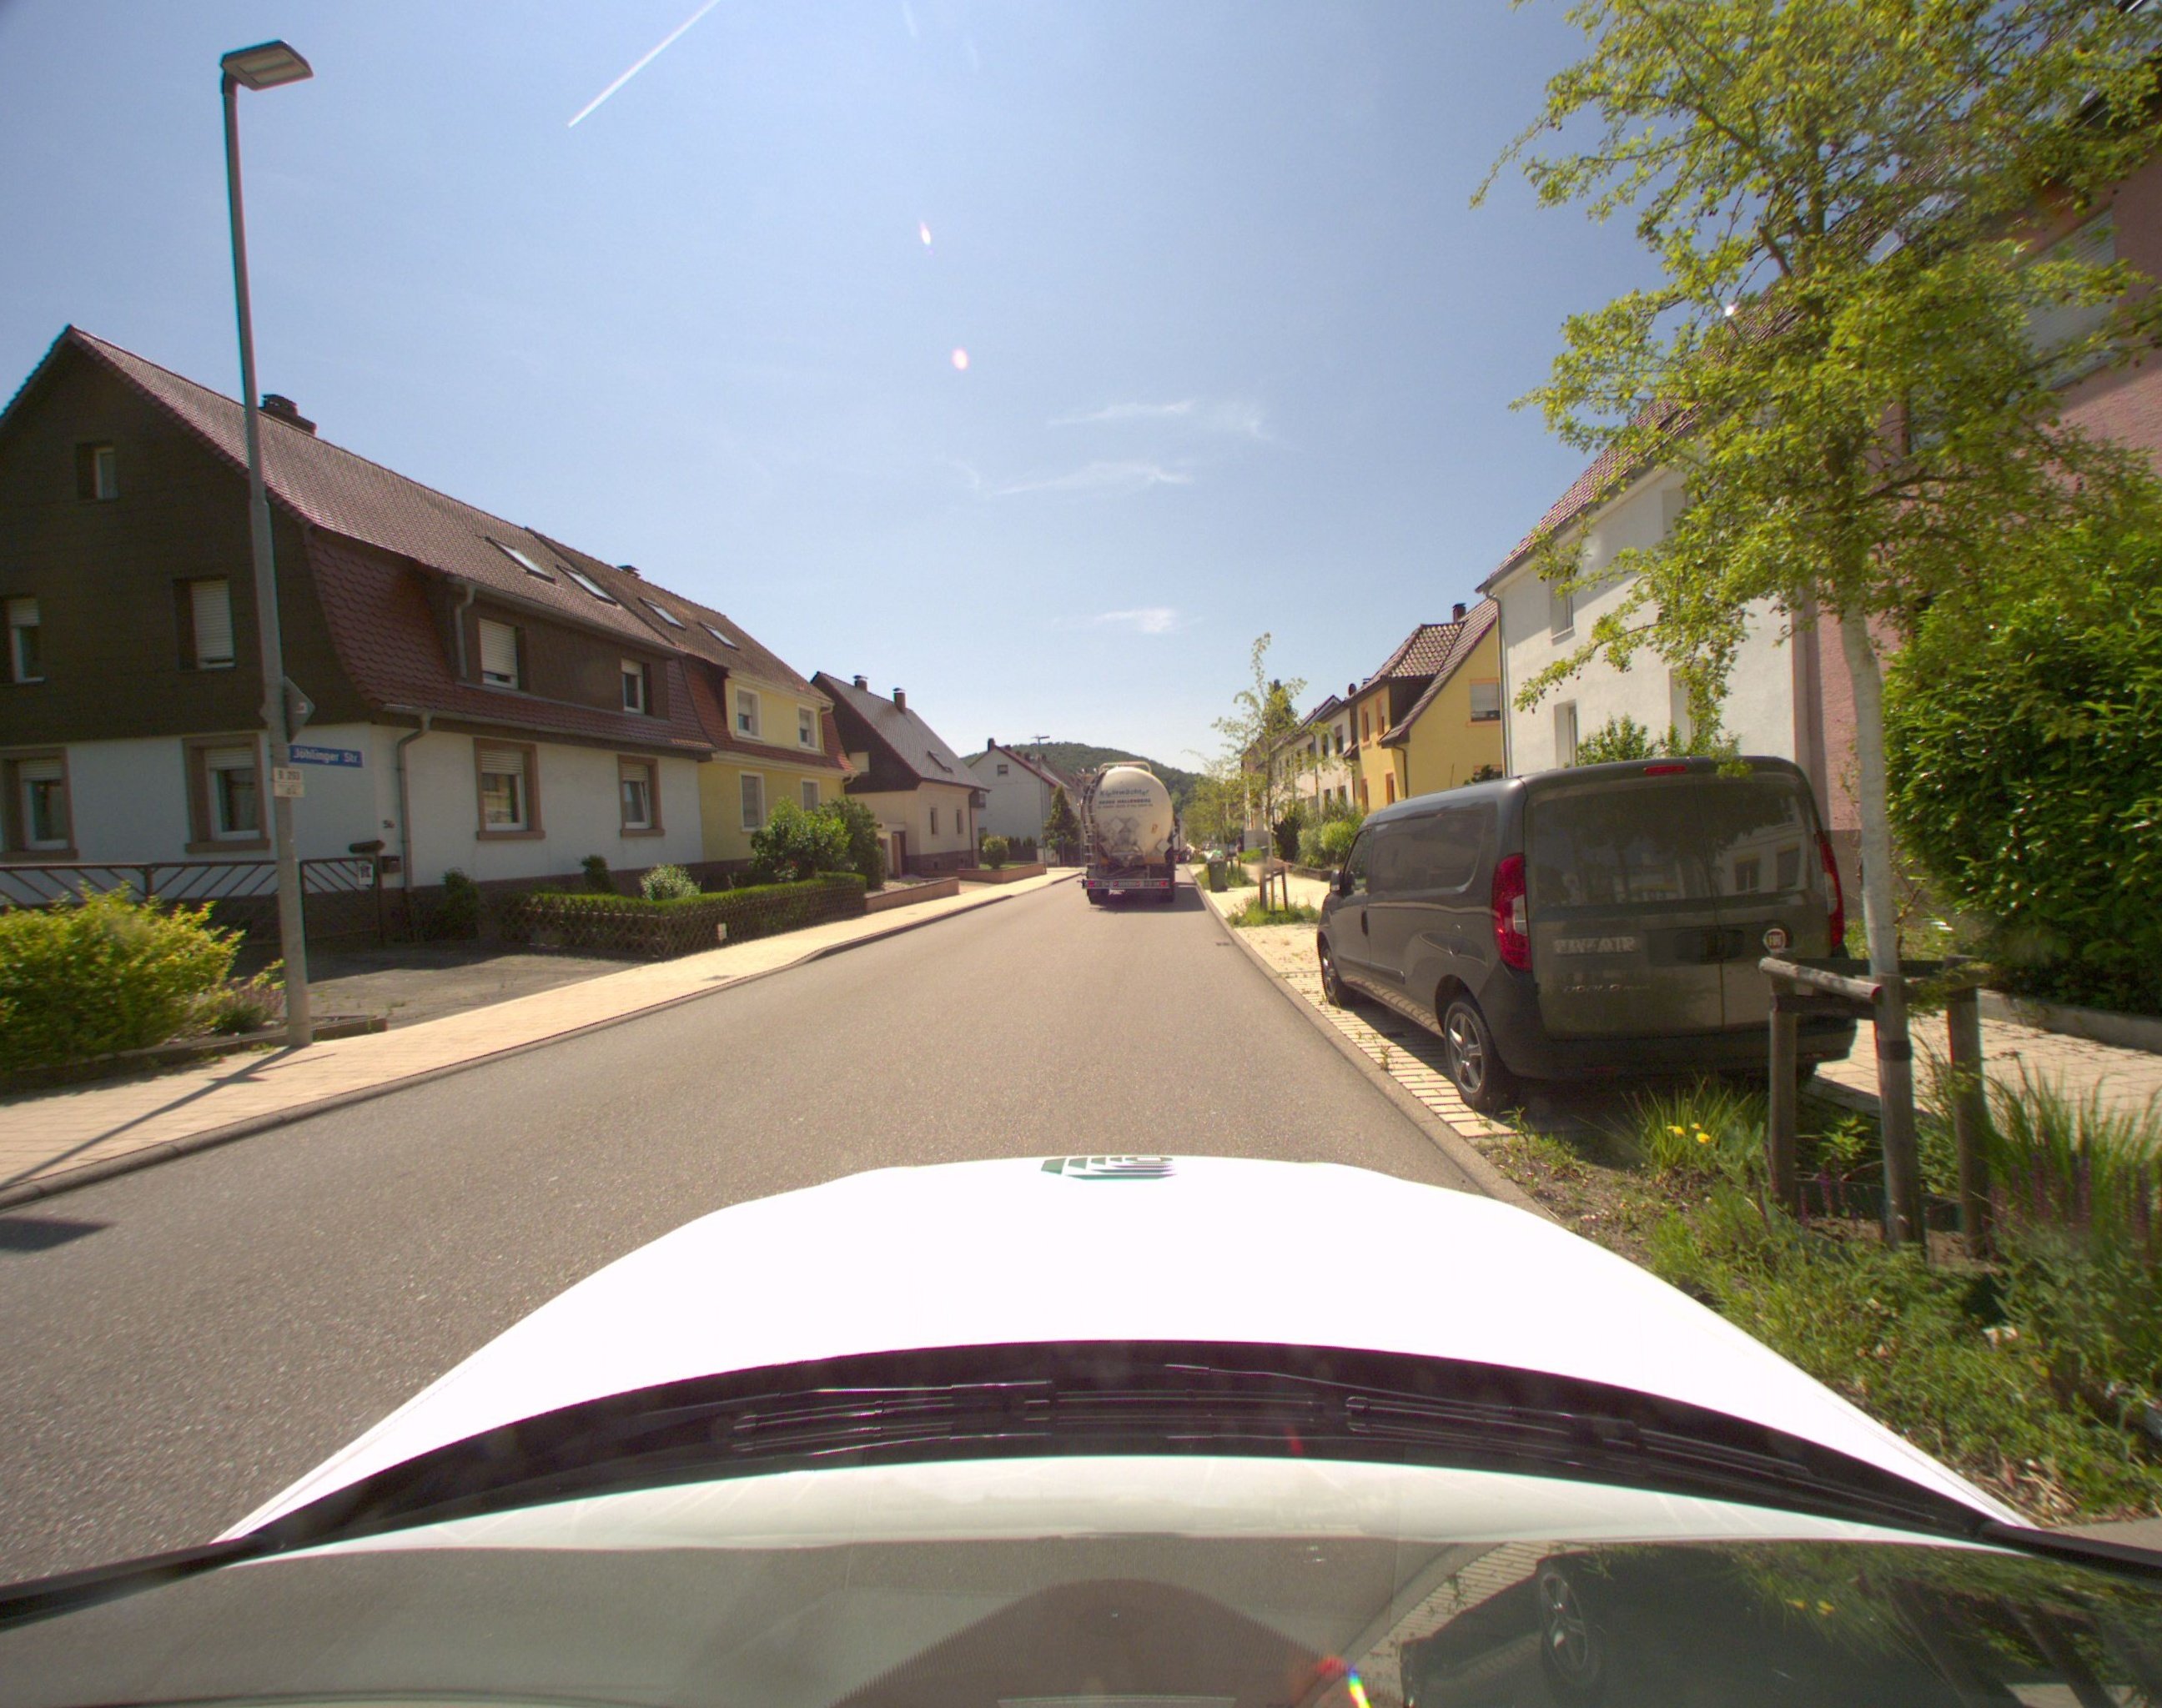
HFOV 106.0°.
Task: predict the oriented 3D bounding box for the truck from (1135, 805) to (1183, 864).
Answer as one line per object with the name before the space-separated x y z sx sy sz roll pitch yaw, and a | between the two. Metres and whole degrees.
truck | 7.185 -1.761 76.169 3.892 4.895 9.809 -4 0 4

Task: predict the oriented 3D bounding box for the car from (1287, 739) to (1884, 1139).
car | 3.033 0.403 6.298 1.847 1.842 4.675 -4 0 3

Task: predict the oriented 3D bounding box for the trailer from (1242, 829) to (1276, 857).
trailer | 13.109 -0.833 60.035 2.286 2.013 1.308 -2 0 -41

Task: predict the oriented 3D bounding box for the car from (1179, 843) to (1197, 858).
car | 13.976 -0.457 106.557 1.984 1.822 4.005 -3 0 5

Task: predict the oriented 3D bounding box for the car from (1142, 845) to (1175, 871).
car | 5.205 0.260 54.239 1.898 1.554 4.010 -4 0 9

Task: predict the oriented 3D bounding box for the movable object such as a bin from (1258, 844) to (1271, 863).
movable object such as a bin | 11.451 -0.005 50.848 0.679 1.115 0.815 -6 -1 12

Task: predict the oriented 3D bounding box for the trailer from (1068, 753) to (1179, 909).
trailer | 1.699 -0.680 26.463 2.781 4.000 10.343 -2 1 7

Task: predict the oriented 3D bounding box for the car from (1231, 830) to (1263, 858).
car | 13.186 -0.783 64.896 1.843 1.970 4.782 -8 0 6

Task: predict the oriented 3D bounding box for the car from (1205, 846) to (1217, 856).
car | 21.166 -0.535 133.119 1.780 1.541 4.530 -3 0 8

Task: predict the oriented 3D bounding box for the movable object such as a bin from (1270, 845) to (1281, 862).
movable object such as a bin | 12.151 -0.034 50.900 0.554 0.986 0.806 -7 -1 13

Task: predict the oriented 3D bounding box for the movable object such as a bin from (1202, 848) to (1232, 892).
movable object such as a bin | 4.558 0.524 27.325 0.788 1.395 0.926 -6 0 4

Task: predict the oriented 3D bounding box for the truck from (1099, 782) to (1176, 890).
truck | 2.406 -0.690 33.169 2.794 3.936 6.110 -1 1 6
